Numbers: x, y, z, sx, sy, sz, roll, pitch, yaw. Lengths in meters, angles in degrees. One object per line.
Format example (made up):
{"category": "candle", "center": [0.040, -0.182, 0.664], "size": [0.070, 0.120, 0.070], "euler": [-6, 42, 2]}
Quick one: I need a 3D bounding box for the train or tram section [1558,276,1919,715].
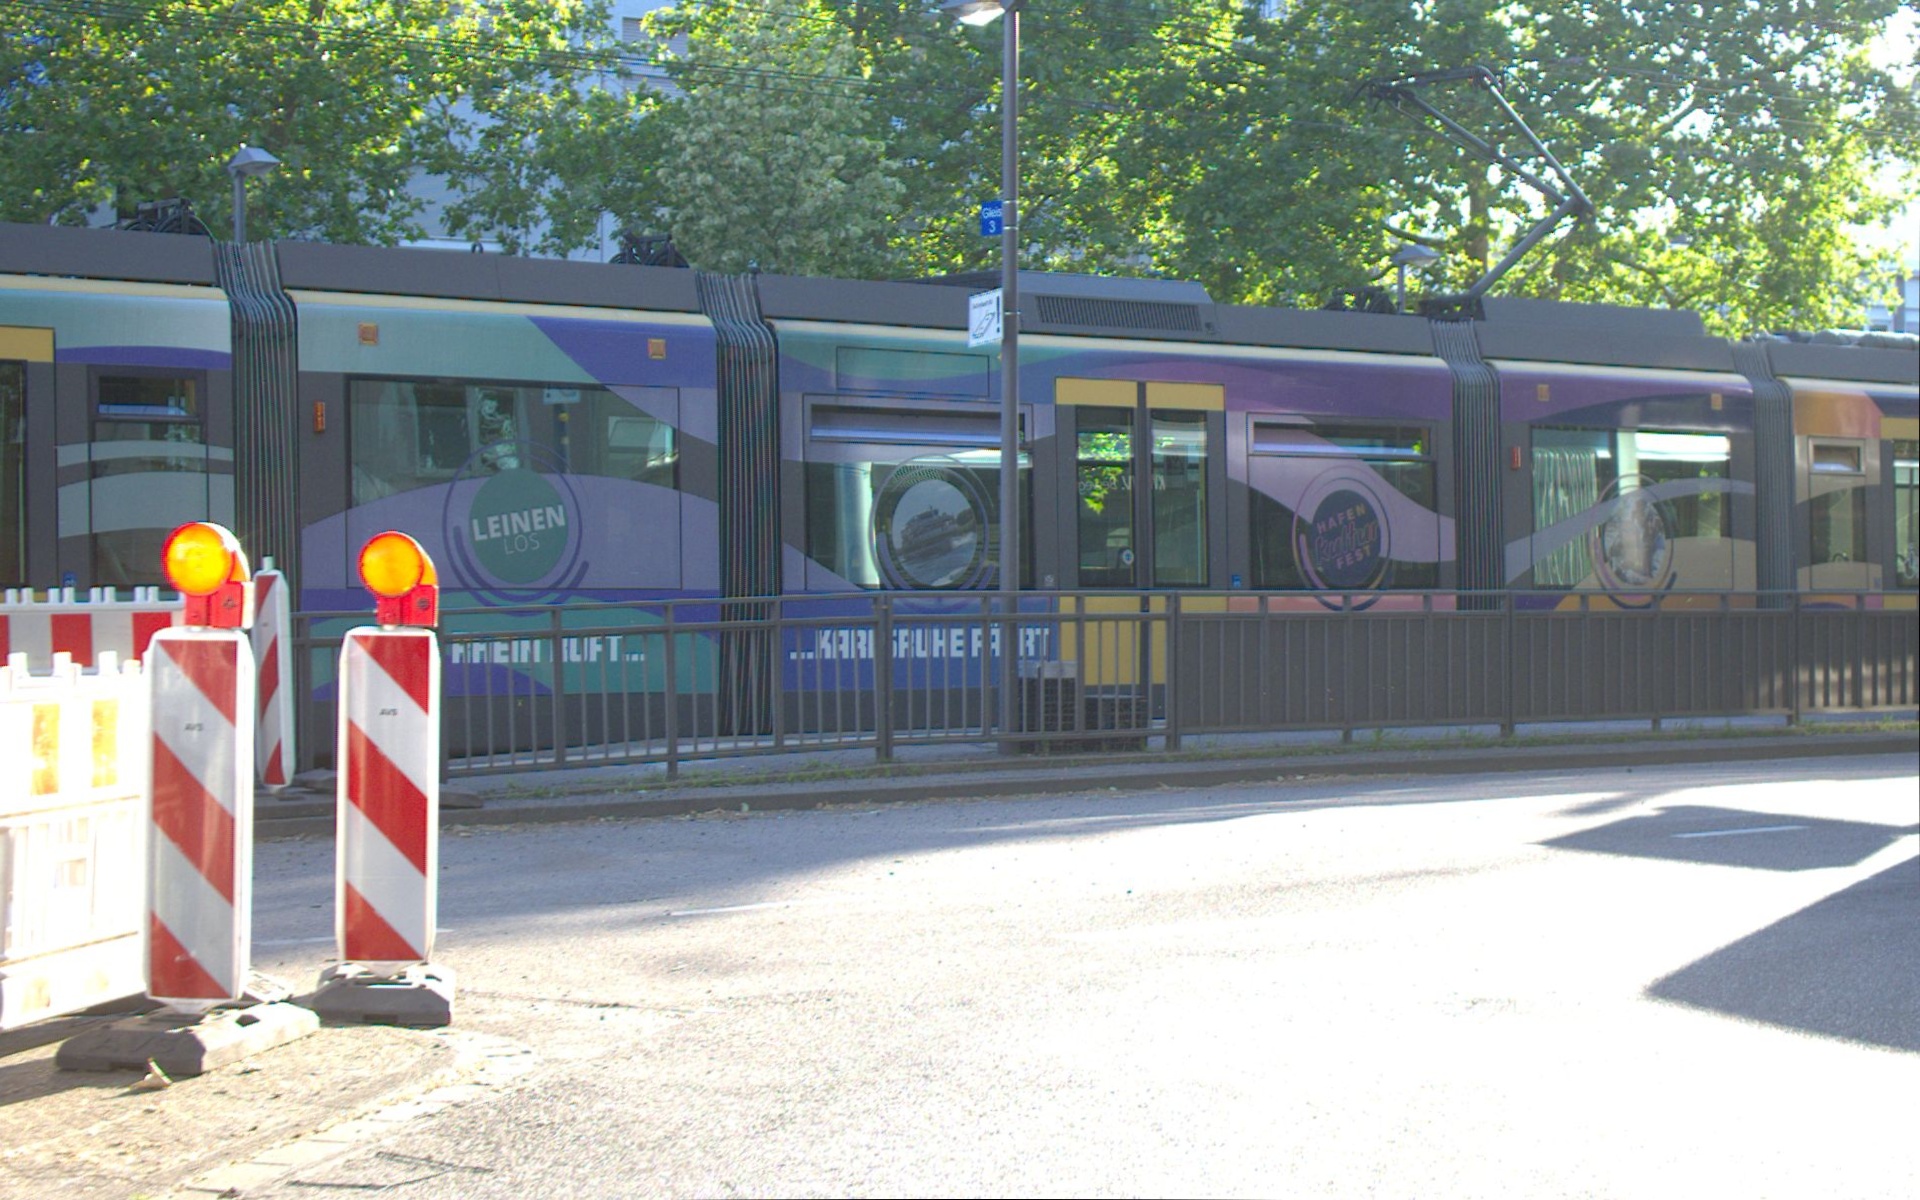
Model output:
{"category": "train or tram section", "center": [11.287, -0.893, 32.538], "size": [13.292, 3.507, 2.649], "euler": [0, 1, -36]}

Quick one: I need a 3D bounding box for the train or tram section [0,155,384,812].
{"category": "train or tram section", "center": [-9.306, -0.602, 16.651], "size": [13.358, 3.521, 2.858], "euler": [-1, 1, -41]}

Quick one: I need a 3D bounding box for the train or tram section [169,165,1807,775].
{"category": "train or tram section", "center": [0.843, -0.809, 24.833], "size": [12.745, 3.537, 2.737], "euler": [0, 1, -36]}
